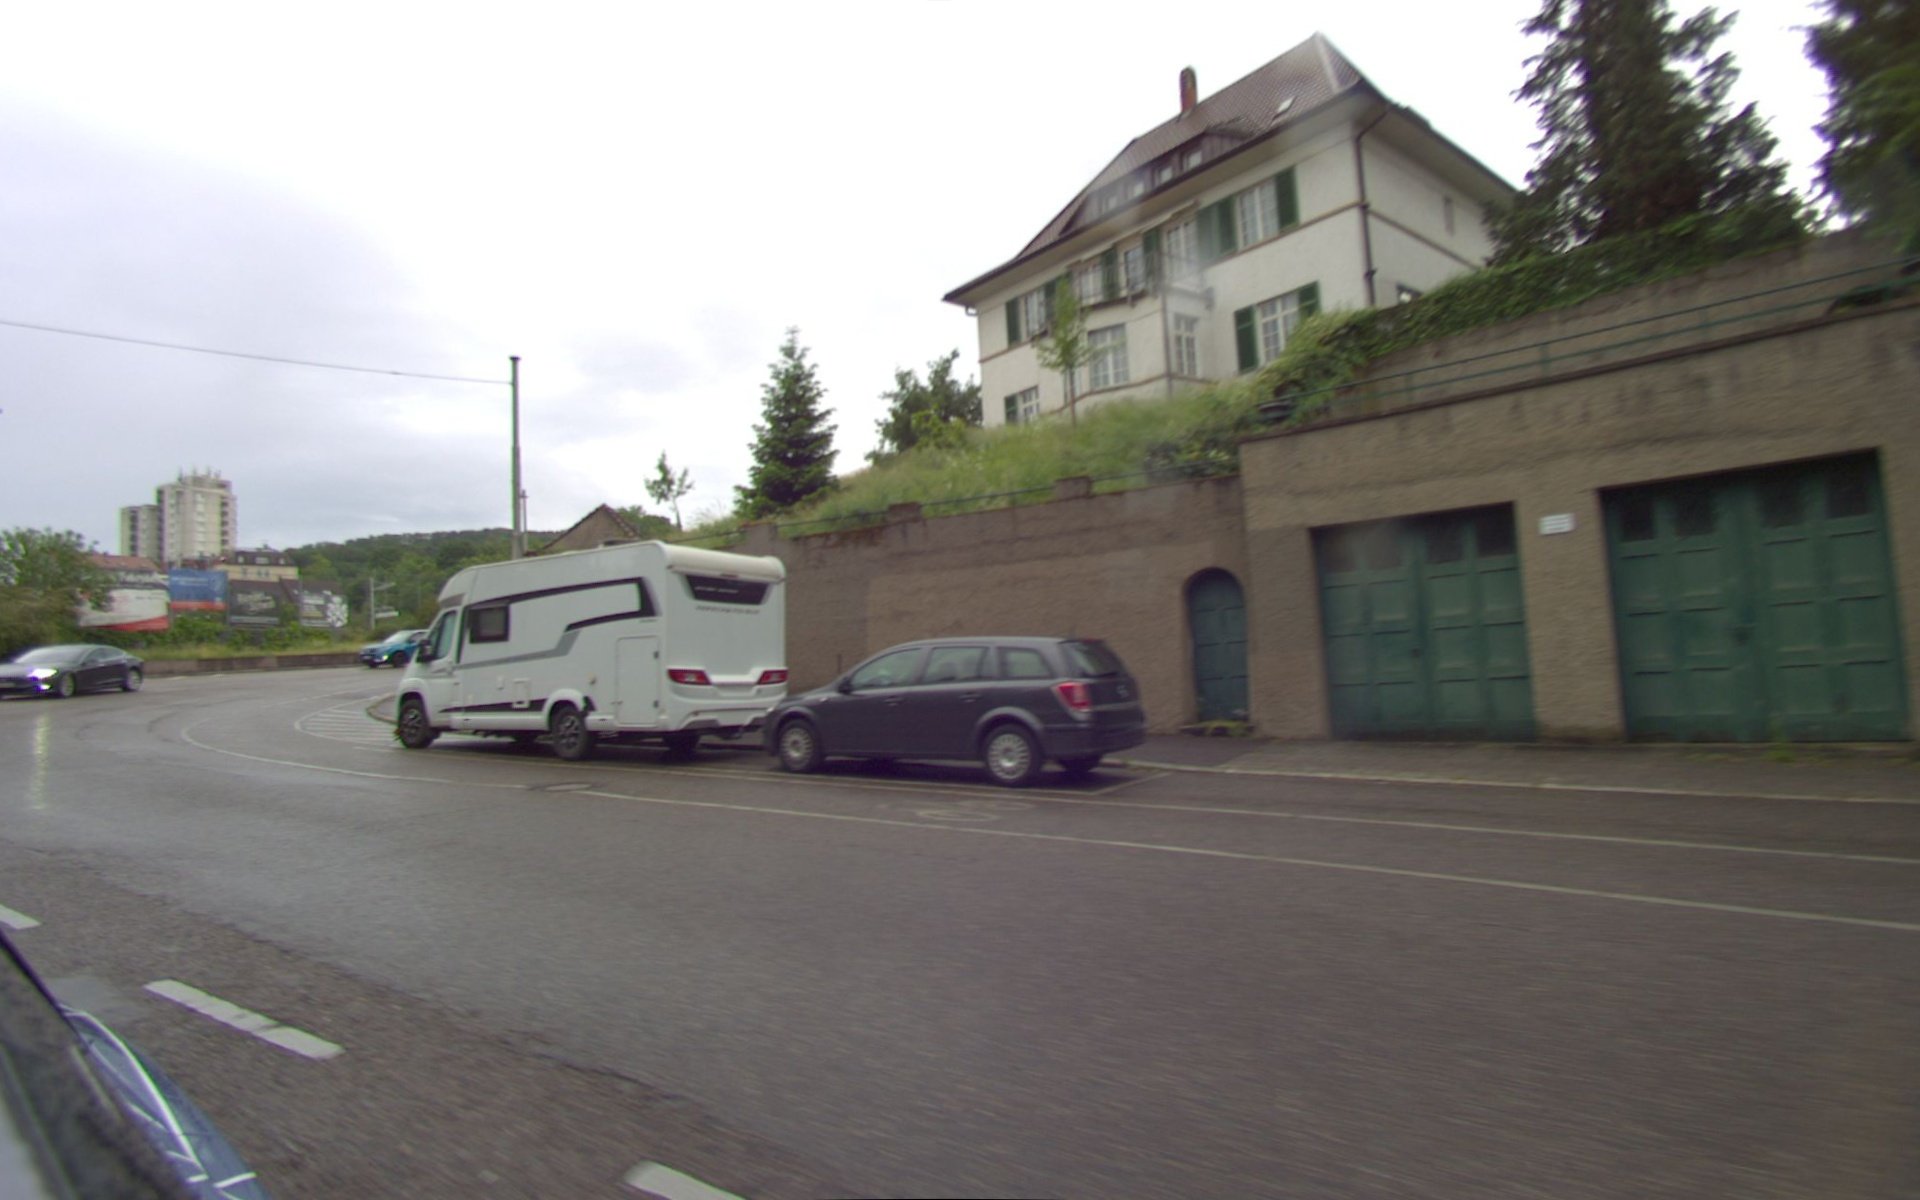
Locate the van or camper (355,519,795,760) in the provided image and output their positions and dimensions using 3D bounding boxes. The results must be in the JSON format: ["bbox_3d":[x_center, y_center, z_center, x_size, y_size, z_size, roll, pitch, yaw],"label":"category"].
[{"bbox_3d":[-5.736,0.659,14.577,7.027,2.810,2.138,-3,-5,32],"label":"van or camper"}]

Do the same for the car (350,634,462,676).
[{"bbox_3d":[-24.426,2.430,44.735,1.794,1.622,4.002,-7,-6,28],"label":"car"}]

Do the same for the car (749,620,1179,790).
[{"bbox_3d":[-0.060,1.079,10.904,4.357,1.510,1.773,-4,-4,32],"label":"car"}]

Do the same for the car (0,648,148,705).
[{"bbox_3d":[-25.201,2.088,28.250,1.809,1.402,4.327,-1,-2,-4],"label":"car"}]
